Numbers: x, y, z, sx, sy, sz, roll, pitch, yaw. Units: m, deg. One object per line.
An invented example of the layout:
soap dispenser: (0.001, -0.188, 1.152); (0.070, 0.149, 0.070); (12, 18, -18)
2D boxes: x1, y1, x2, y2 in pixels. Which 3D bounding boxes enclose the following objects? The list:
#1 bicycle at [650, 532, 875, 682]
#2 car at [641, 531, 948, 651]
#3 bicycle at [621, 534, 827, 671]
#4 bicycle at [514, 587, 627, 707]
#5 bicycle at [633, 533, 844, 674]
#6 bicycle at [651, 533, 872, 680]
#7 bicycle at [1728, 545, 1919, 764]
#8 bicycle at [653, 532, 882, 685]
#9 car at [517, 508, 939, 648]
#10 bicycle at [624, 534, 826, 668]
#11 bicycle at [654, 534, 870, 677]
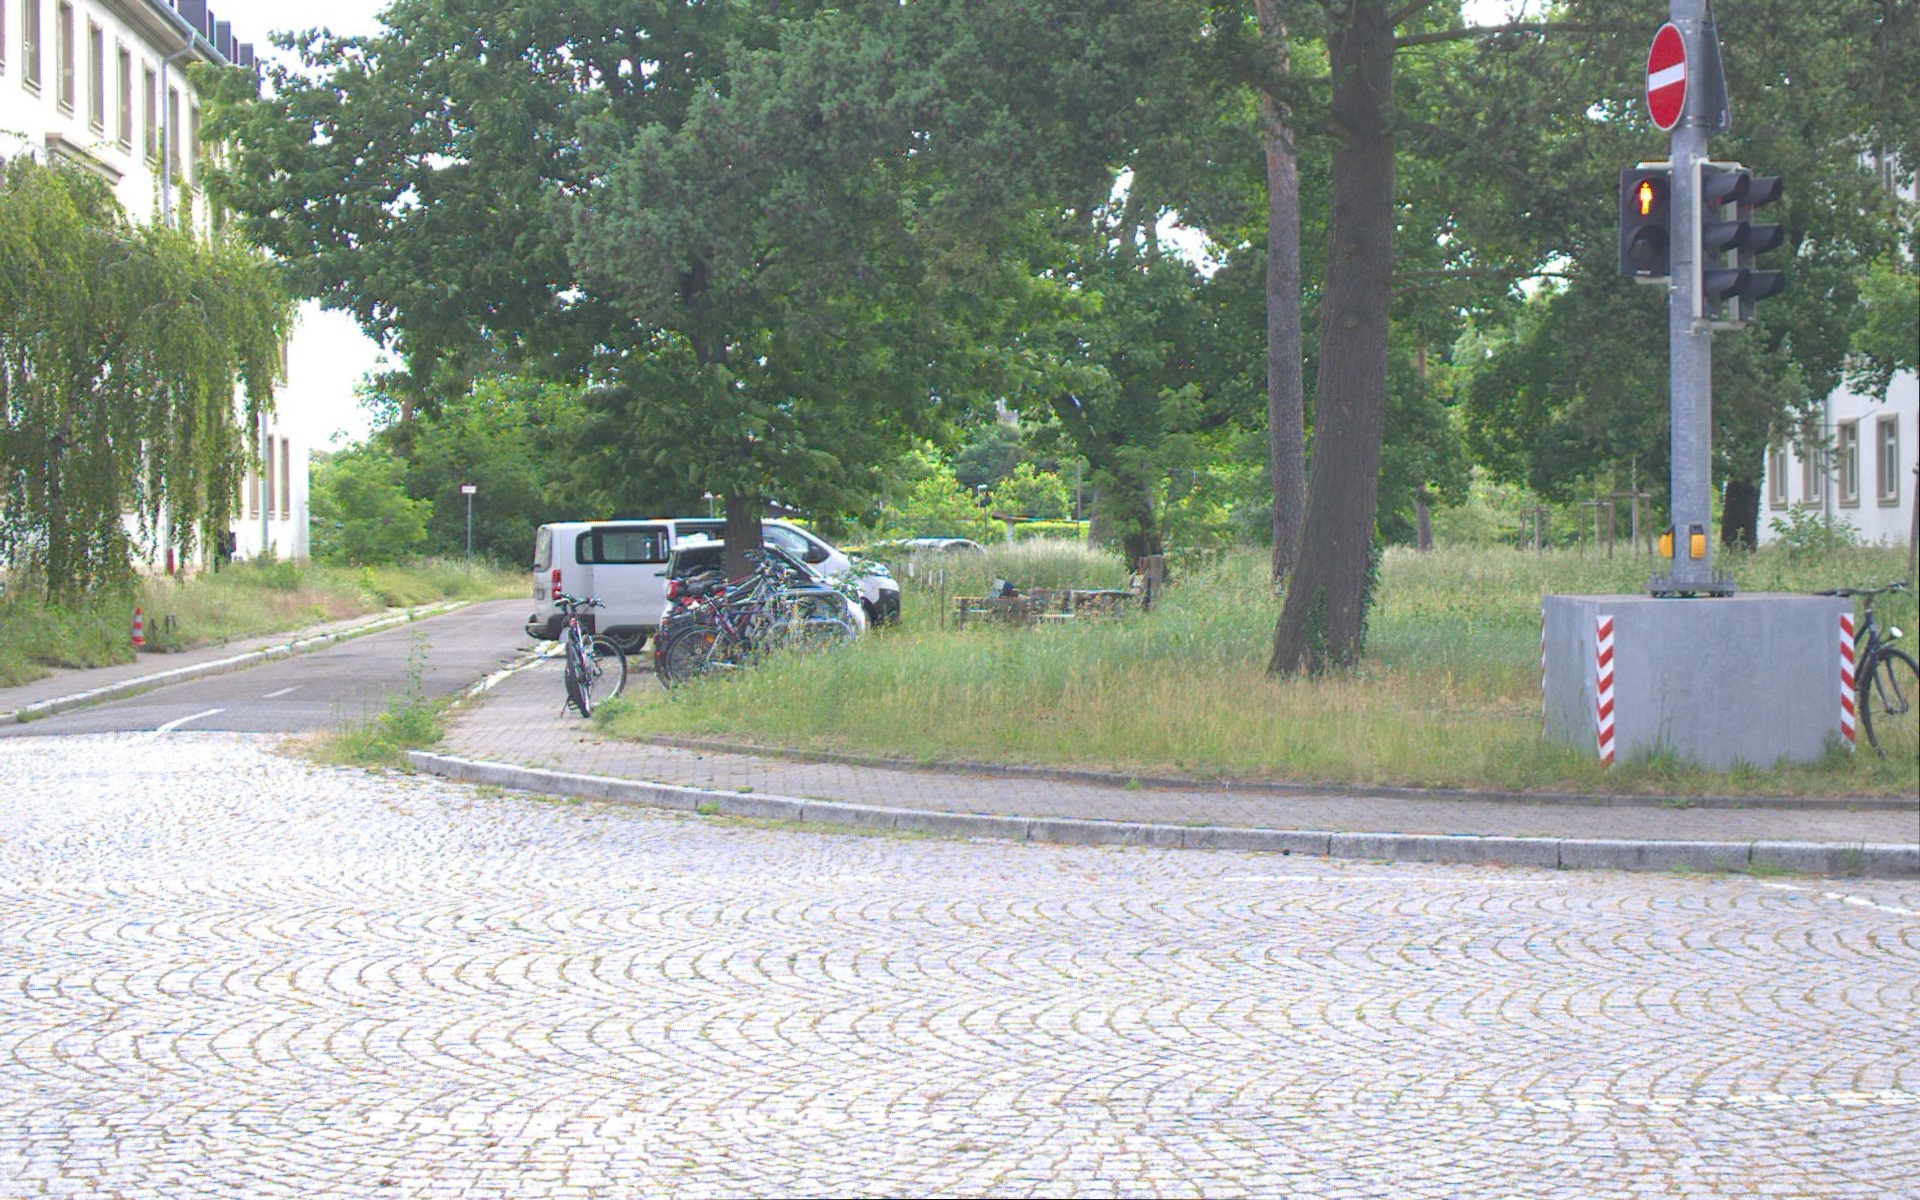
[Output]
bicycle: (-1.844, 0.062, 32.146); (2.069, 1.373, 0.620); (0, 1, -3)
car: (-2.245, -0.138, 45.995); (3.931, 1.539, 2.001); (-1, 1, -8)
bicycle: (-2.404, 0.015, 35.080); (2.069, 1.373, 0.620); (0, 1, -3)
bicycle: (-3.338, 0.391, 29.603); (0.618, 0.960, 2.076); (0, 1, 3)
bicycle: (-2.206, 0.027, 34.351); (2.069, 1.373, 0.620); (0, 1, -3)
bicycle: (-1.887, 0.054, 32.770); (2.069, 1.373, 0.620); (0, 1, -3)
bicycle: (5.093, 0.281, 19.546); (0.908, 1.173, 1.875); (0, 1, -4)
bicycle: (-1.758, 0.072, 31.479); (2.069, 1.373, 0.620); (0, 1, -3)
car: (-3.351, -0.343, 49.310); (5.690, 1.904, 2.231); (-1, 1, -15)
bicycle: (-2.437, 0.007, 35.826); (2.069, 1.373, 0.620); (0, 1, -3)
bicycle: (-1.930, 0.044, 33.566); (2.069, 1.373, 0.620); (0, 1, -3)
